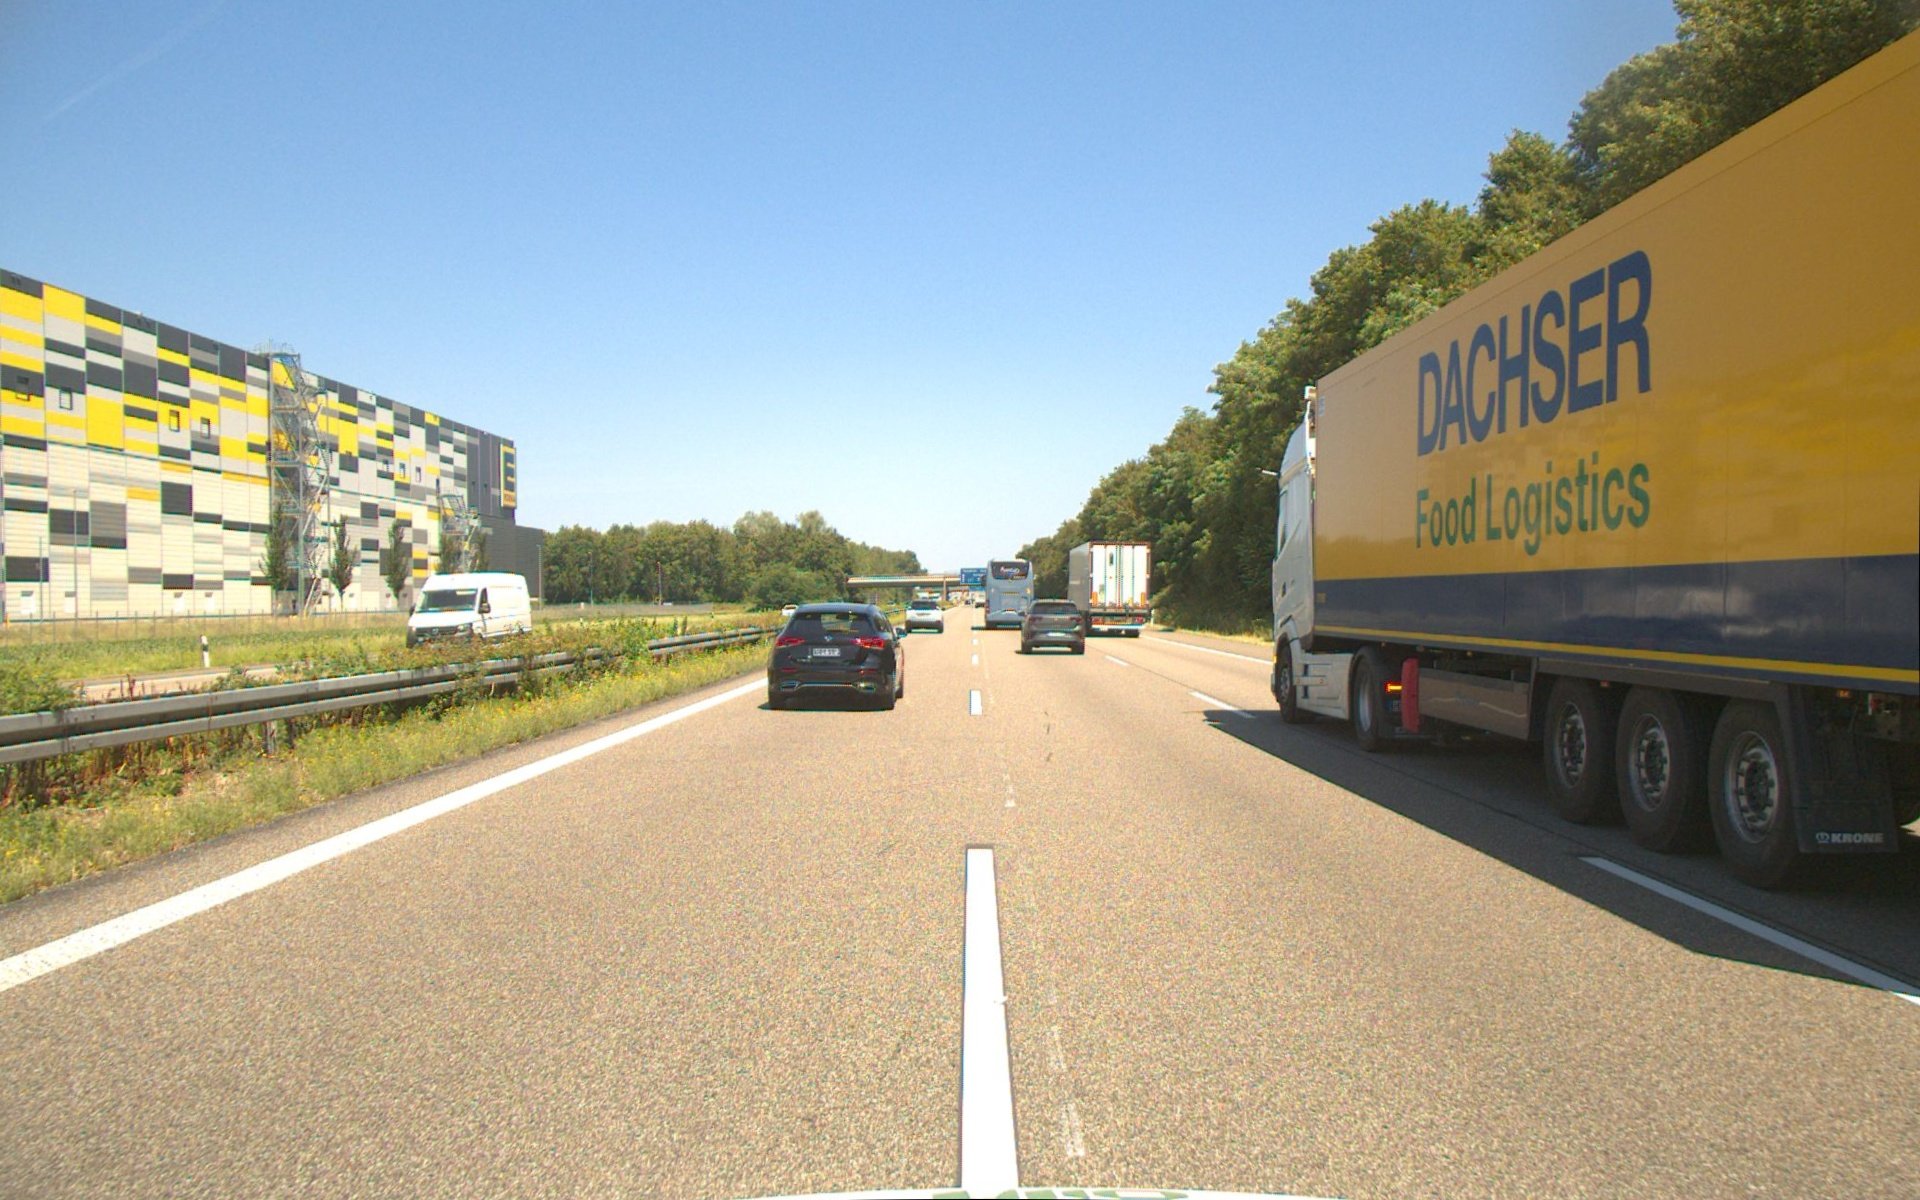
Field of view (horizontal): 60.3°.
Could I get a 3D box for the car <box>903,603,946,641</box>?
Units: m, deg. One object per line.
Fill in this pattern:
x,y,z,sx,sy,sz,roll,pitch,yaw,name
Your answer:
-1.625,1.007,77.290,1.953,1.758,4.130,0,0,0,car

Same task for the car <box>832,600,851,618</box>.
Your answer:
-13.746,1.072,192.513,1.953,2.049,3.999,-1,0,-1,car

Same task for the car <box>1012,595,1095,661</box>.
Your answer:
2.714,0.779,49.067,2.171,1.821,5.393,-1,0,0,car

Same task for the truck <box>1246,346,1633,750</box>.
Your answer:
5.438,-0.532,20.101,2.755,4.076,6.644,0,0,0,truck

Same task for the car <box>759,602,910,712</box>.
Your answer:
-1.726,0.752,23.925,1.755,1.436,4.053,0,0,2,car

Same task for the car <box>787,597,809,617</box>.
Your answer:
-16.895,0.720,172.726,1.953,2.049,3.999,-1,0,-1,car

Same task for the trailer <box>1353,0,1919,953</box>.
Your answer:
5.451,-0.537,11.318,2.776,4.023,11.683,0,0,0,trailer

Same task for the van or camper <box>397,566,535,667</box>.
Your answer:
-14.897,0.470,50.330,2.014,2.828,6.965,-1,0,0,van or camper

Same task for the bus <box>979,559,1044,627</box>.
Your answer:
2.677,-0.365,87.933,3.000,3.385,8.272,-1,0,-1,bus

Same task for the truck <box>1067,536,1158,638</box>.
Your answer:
6.684,-0.549,74.004,3.352,4.198,9.566,-1,0,1,truck
